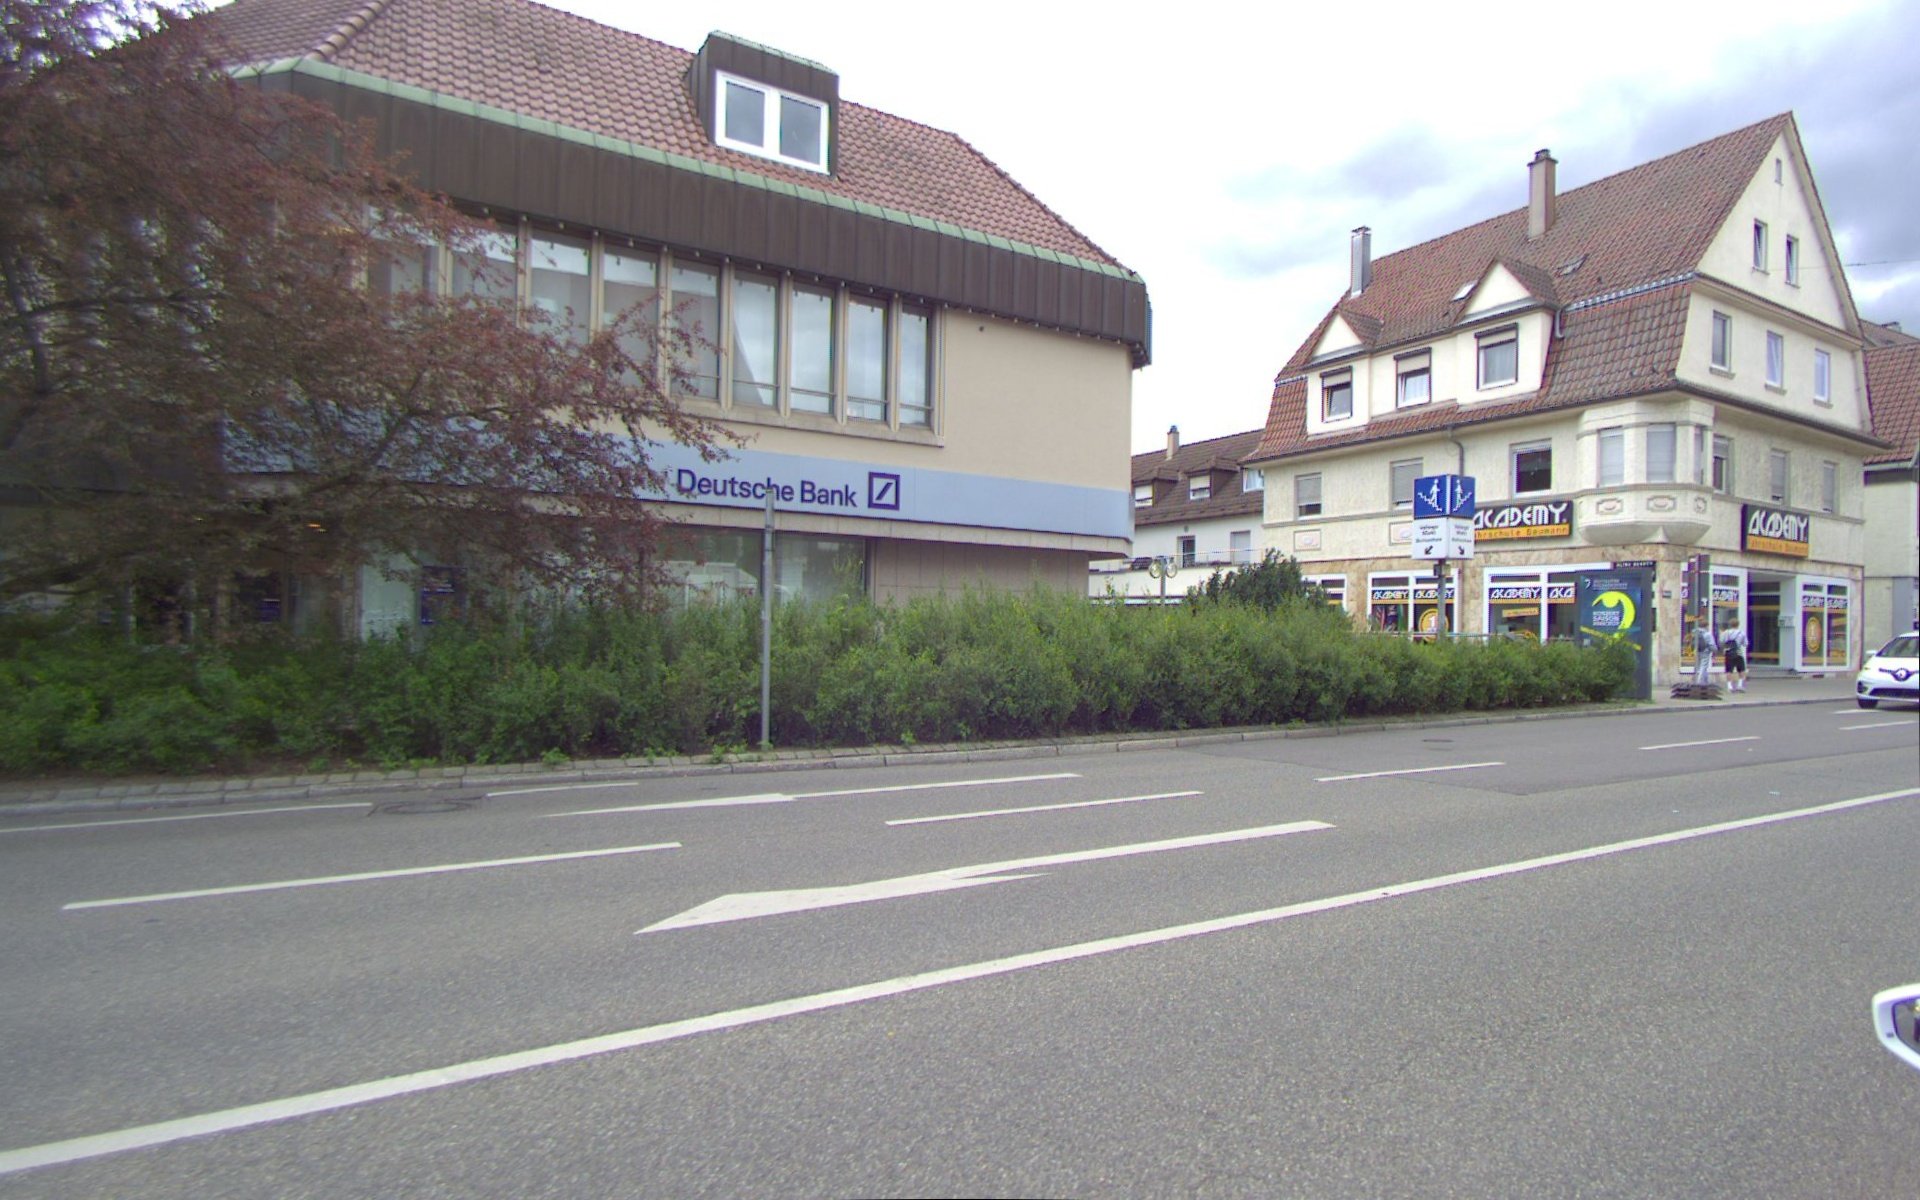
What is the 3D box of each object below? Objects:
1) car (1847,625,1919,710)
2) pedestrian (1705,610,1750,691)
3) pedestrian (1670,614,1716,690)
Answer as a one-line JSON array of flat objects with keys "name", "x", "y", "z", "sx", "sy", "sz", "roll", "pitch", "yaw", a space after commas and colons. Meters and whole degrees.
[{"name": "car", "x": 19.636, "y": 1.334, "z": 20.202, "sx": 3.882, "sy": 1.588, "sz": 1.631, "roll": 2, "pitch": -2, "yaw": -31}, {"name": "pedestrian", "x": 17.844, "y": 1.157, "z": 23.363, "sx": 0.673, "sy": 1.848, "sz": 0.630, "roll": 1, "pitch": -1, "yaw": -30}, {"name": "pedestrian", "x": 17.528, "y": 1.239, "z": 24.017, "sx": 0.673, "sy": 1.784, "sz": 0.684, "roll": 1, "pitch": -1, "yaw": -30}]
